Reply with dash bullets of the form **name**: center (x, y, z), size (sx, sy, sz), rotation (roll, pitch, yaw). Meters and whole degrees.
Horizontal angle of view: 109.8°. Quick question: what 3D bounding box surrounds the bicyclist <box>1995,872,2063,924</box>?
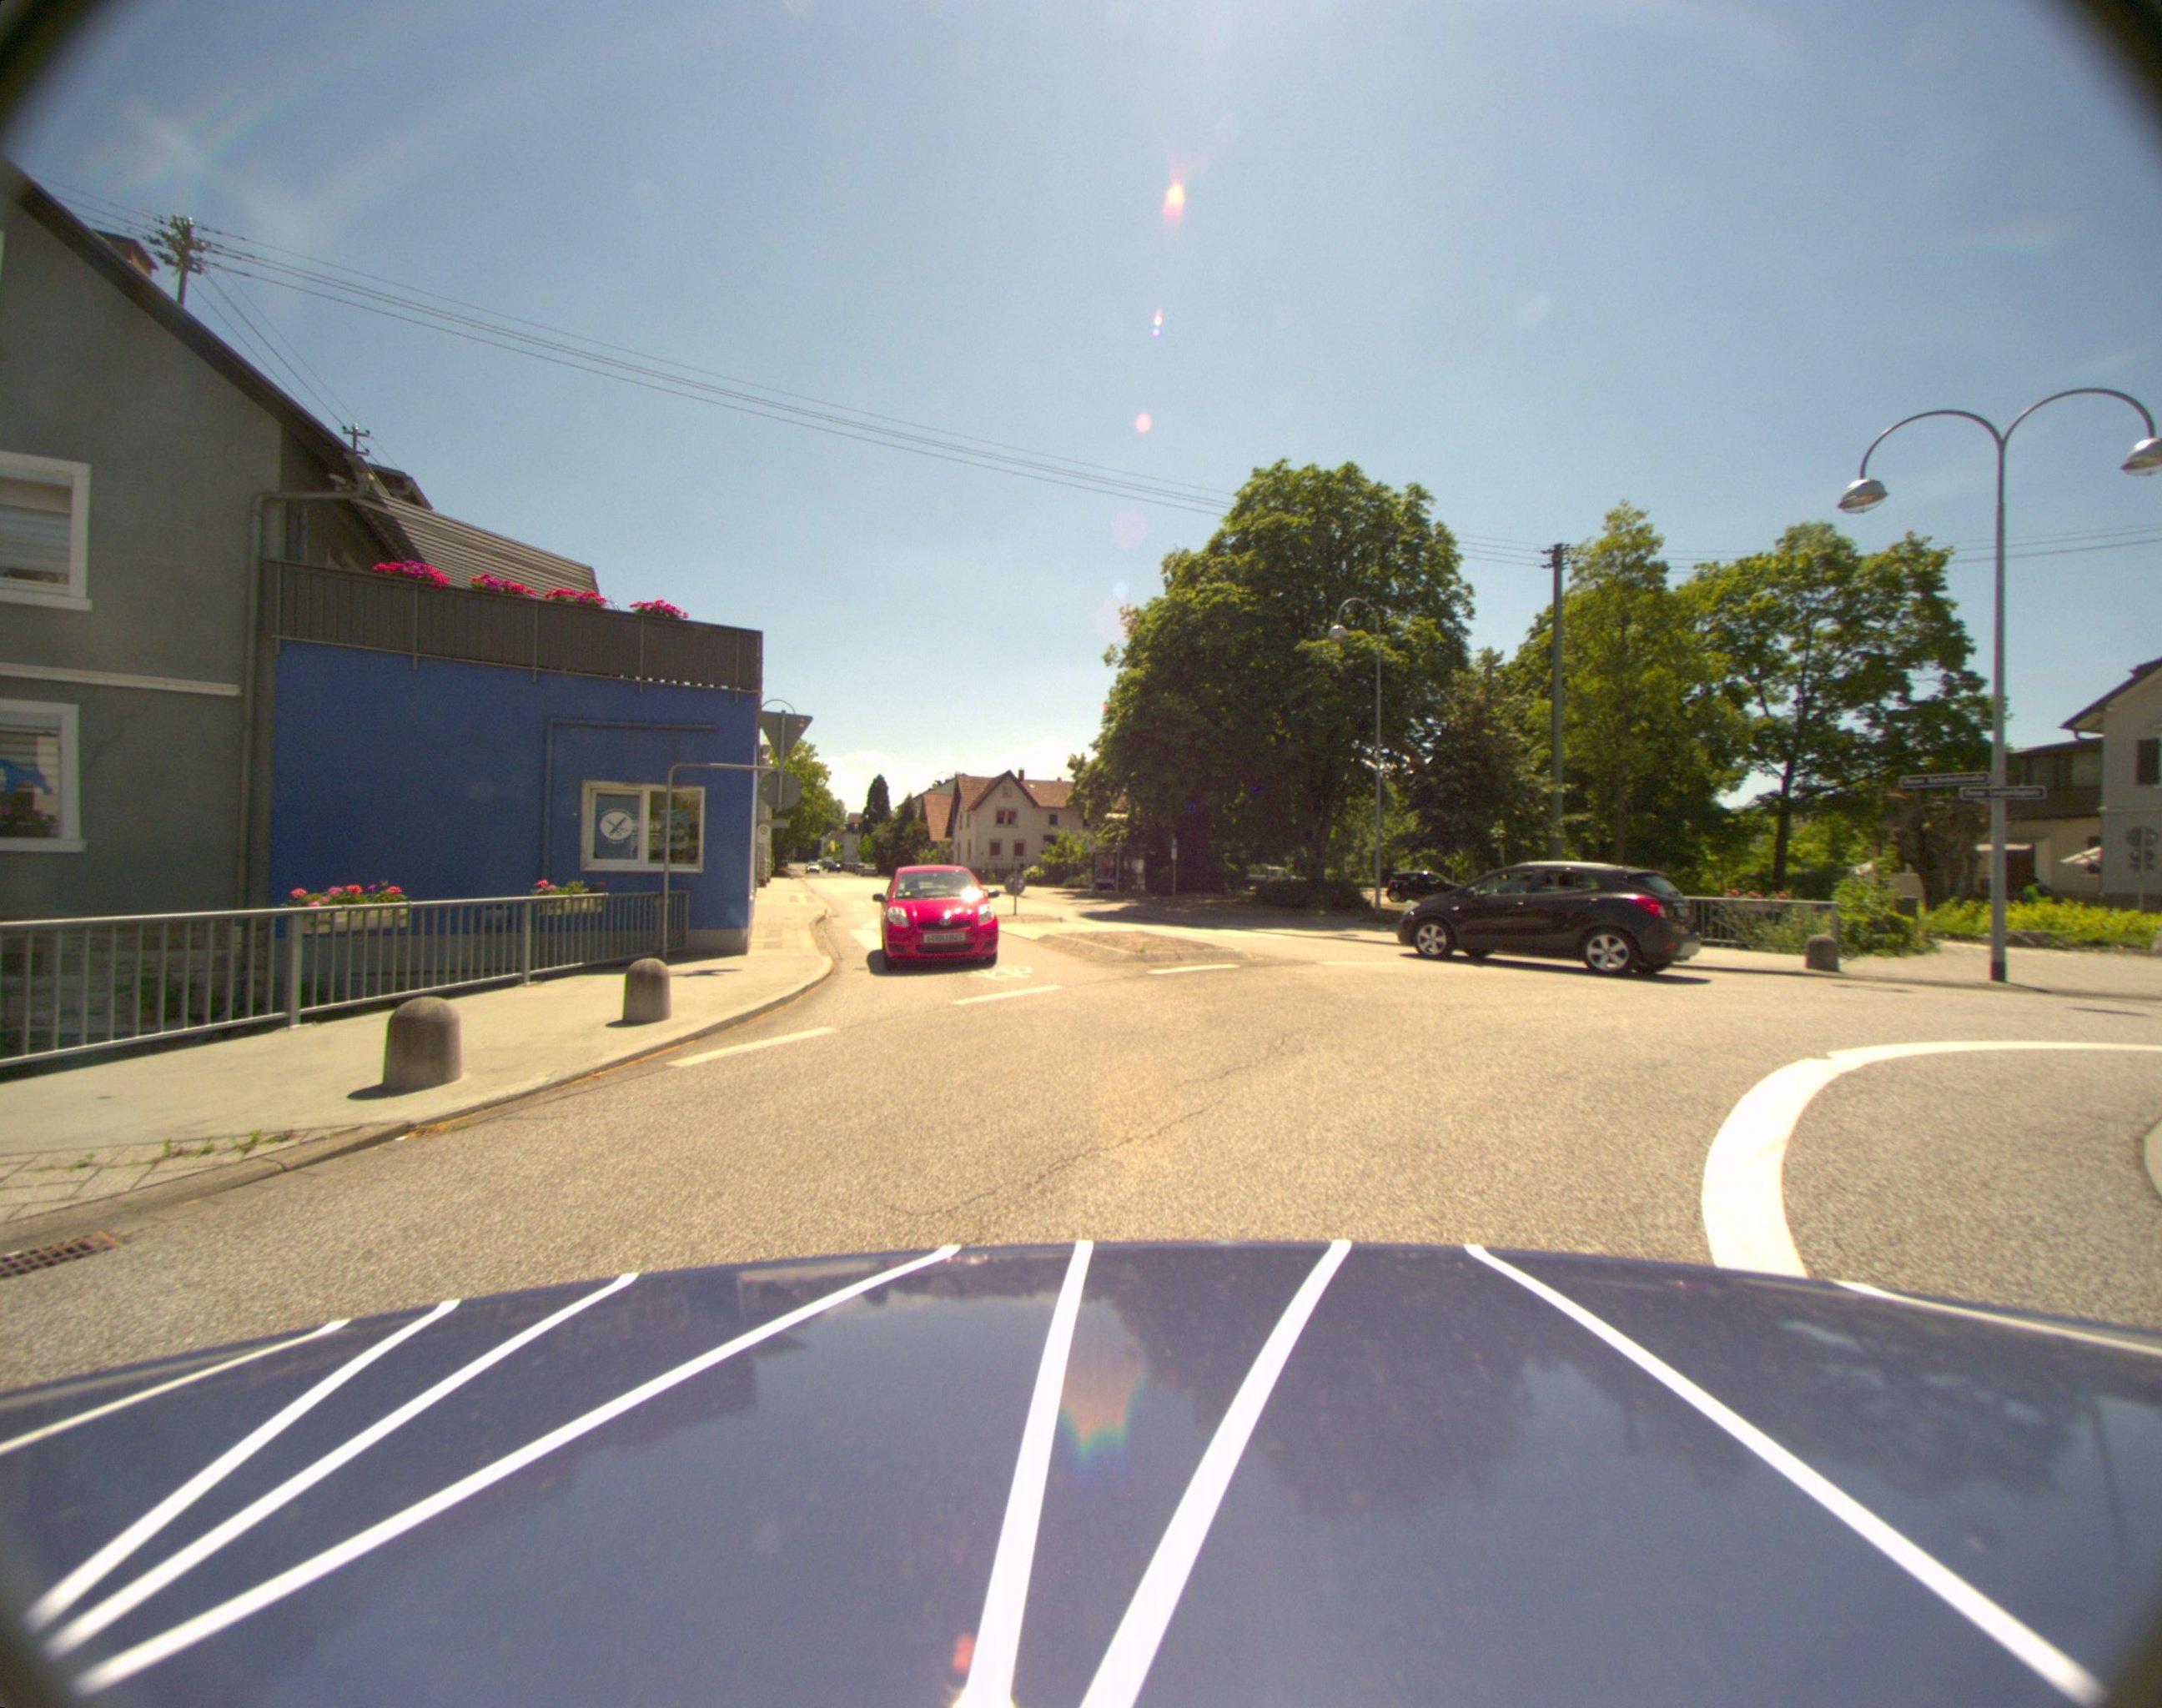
- **bicyclist**: center (32.263, 1.485, 25.874), size (0.809, 1.626, 1.062), rotation (4, 4, 9)

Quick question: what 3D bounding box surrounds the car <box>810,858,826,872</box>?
- **car**: center (-39.112, 1.637, 112.797), size (2.002, 2.001, 3.994), rotation (2, -3, -22)

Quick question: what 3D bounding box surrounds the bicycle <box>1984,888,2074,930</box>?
- **bicycle**: center (32.235, 1.843, 25.894), size (0.809, 1.150, 1.853), rotation (4, 4, 11)

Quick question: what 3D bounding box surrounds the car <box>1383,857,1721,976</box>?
- **car**: center (7.325, 0.991, 12.200), size (2.005, 1.551, 4.156), rotation (6, -6, -38)

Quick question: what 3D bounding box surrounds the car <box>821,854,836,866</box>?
- **car**: center (-44.844, 1.068, 134.821), size (2.003, 2.001, 3.993), rotation (2, -3, -25)

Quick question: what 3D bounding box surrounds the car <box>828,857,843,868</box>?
- **car**: center (-38.119, 1.347, 118.112), size (1.742, 1.695, 3.993), rotation (0, -2, -25)

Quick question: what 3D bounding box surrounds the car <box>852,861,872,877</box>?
- **car**: center (-30.698, 2.110, 106.582), size (2.003, 2.001, 3.993), rotation (2, -3, -25)

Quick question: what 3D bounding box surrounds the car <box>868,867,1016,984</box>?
- **car**: center (-2.440, 1.002, 12.480), size (1.836, 1.524, 3.994), rotation (-1, 0, -18)

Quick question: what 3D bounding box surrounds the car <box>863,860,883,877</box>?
- **car**: center (-26.432, 1.808, 96.494), size (2.002, 2.001, 3.994), rotation (2, -3, -22)

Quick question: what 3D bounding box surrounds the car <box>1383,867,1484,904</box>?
- **car**: center (16.658, 1.444, 35.934), size (3.988, 1.592, 1.847), rotation (1, 0, 38)

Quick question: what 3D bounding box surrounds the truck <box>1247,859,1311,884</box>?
- **truck**: center (20.189, 1.826, 77.658), size (6.208, 2.427, 2.268), rotation (1, -3, 10)
